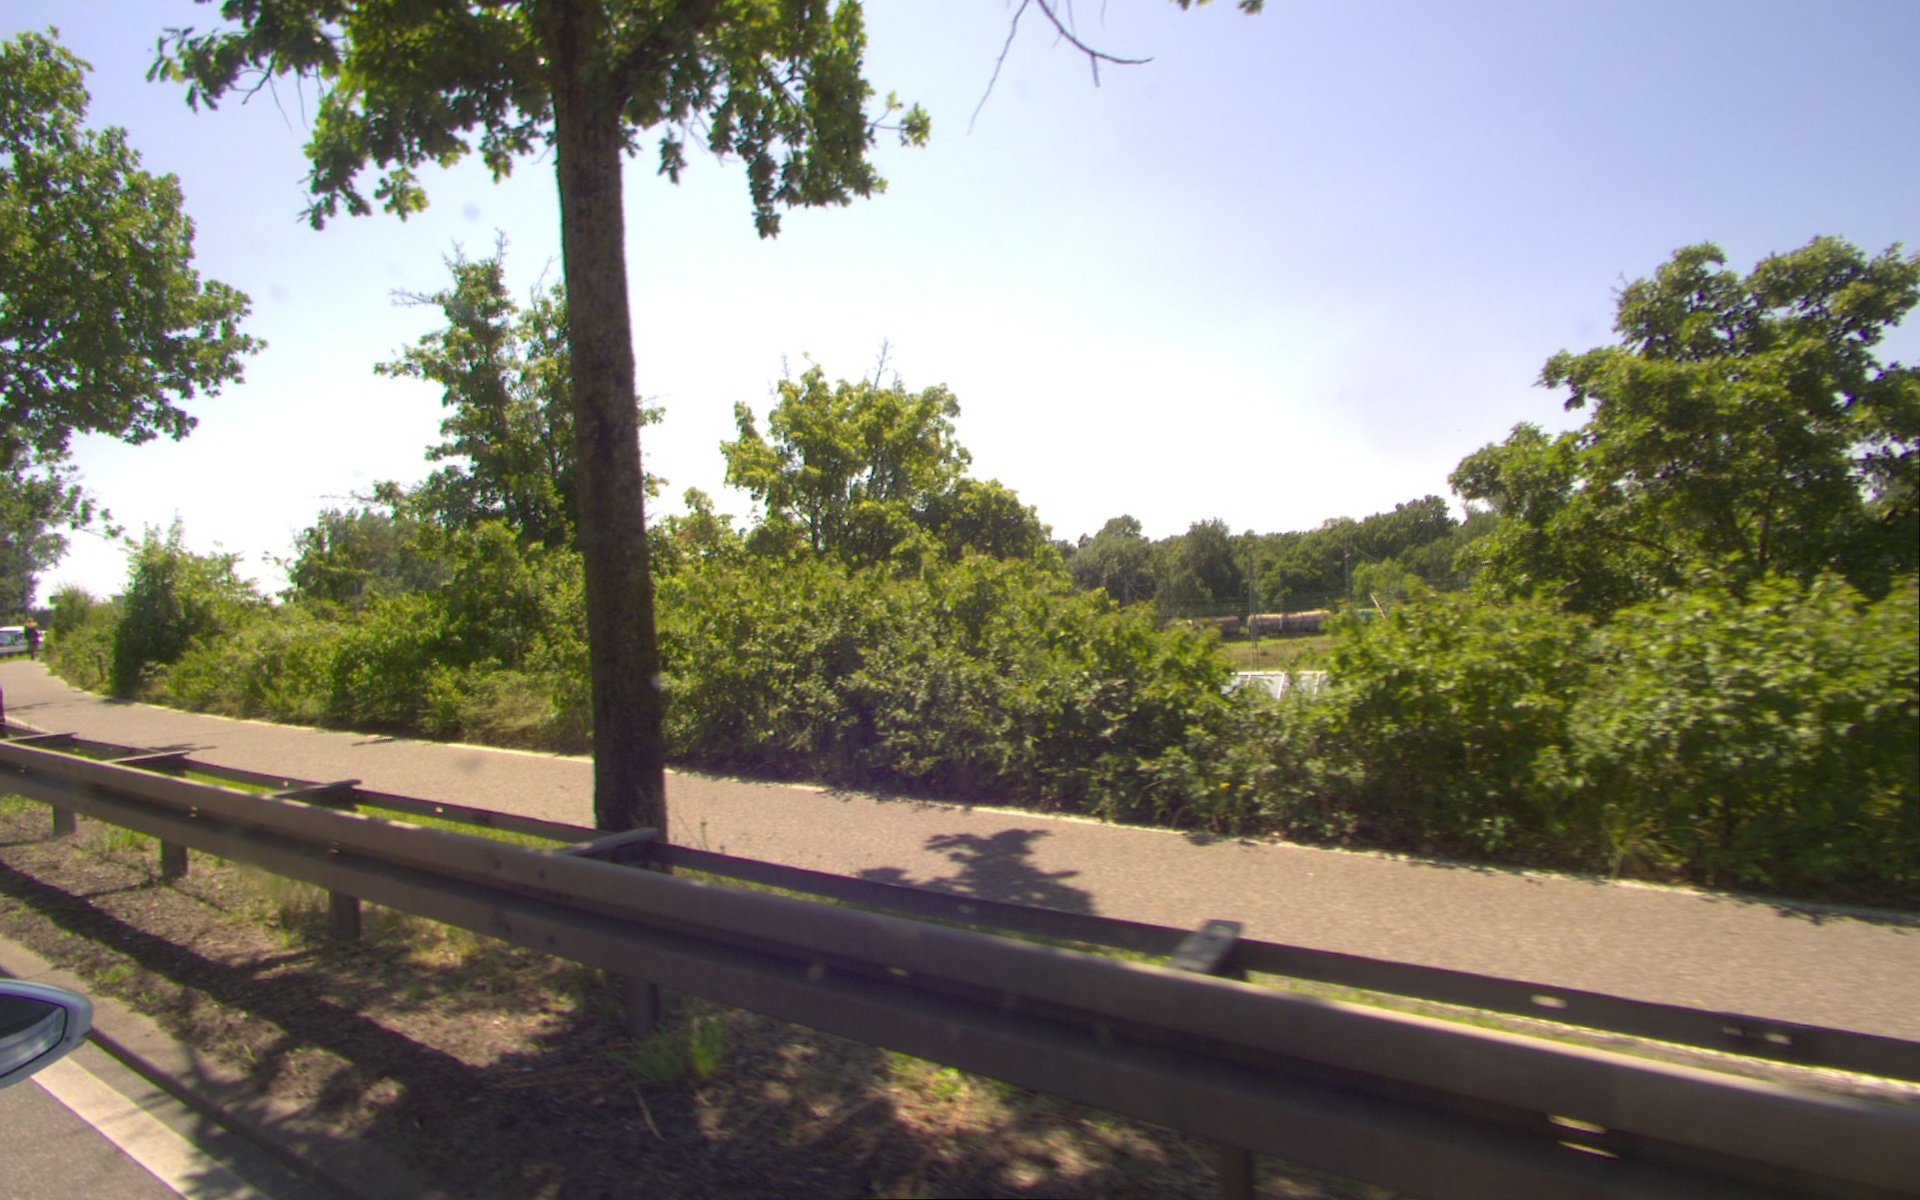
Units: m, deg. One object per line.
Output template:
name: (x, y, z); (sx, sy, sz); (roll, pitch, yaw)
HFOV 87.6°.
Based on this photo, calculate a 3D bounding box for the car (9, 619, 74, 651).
car: (-53.852, 2.042, 58.783); (1.973, 1.790, 4.728); (0, -2, -32)

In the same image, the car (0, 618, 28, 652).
car: (-50.658, 1.833, 52.361); (1.973, 1.739, 4.840); (0, -2, -33)

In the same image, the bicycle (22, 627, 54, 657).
bicycle: (-39.102, 1.768, 42.490); (0.853, 1.252, 2.291); (0, -2, -39)

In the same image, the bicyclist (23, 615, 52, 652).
bicyclist: (-39.103, 1.400, 42.452); (0.854, 1.543, 0.972); (0, -1, -40)
